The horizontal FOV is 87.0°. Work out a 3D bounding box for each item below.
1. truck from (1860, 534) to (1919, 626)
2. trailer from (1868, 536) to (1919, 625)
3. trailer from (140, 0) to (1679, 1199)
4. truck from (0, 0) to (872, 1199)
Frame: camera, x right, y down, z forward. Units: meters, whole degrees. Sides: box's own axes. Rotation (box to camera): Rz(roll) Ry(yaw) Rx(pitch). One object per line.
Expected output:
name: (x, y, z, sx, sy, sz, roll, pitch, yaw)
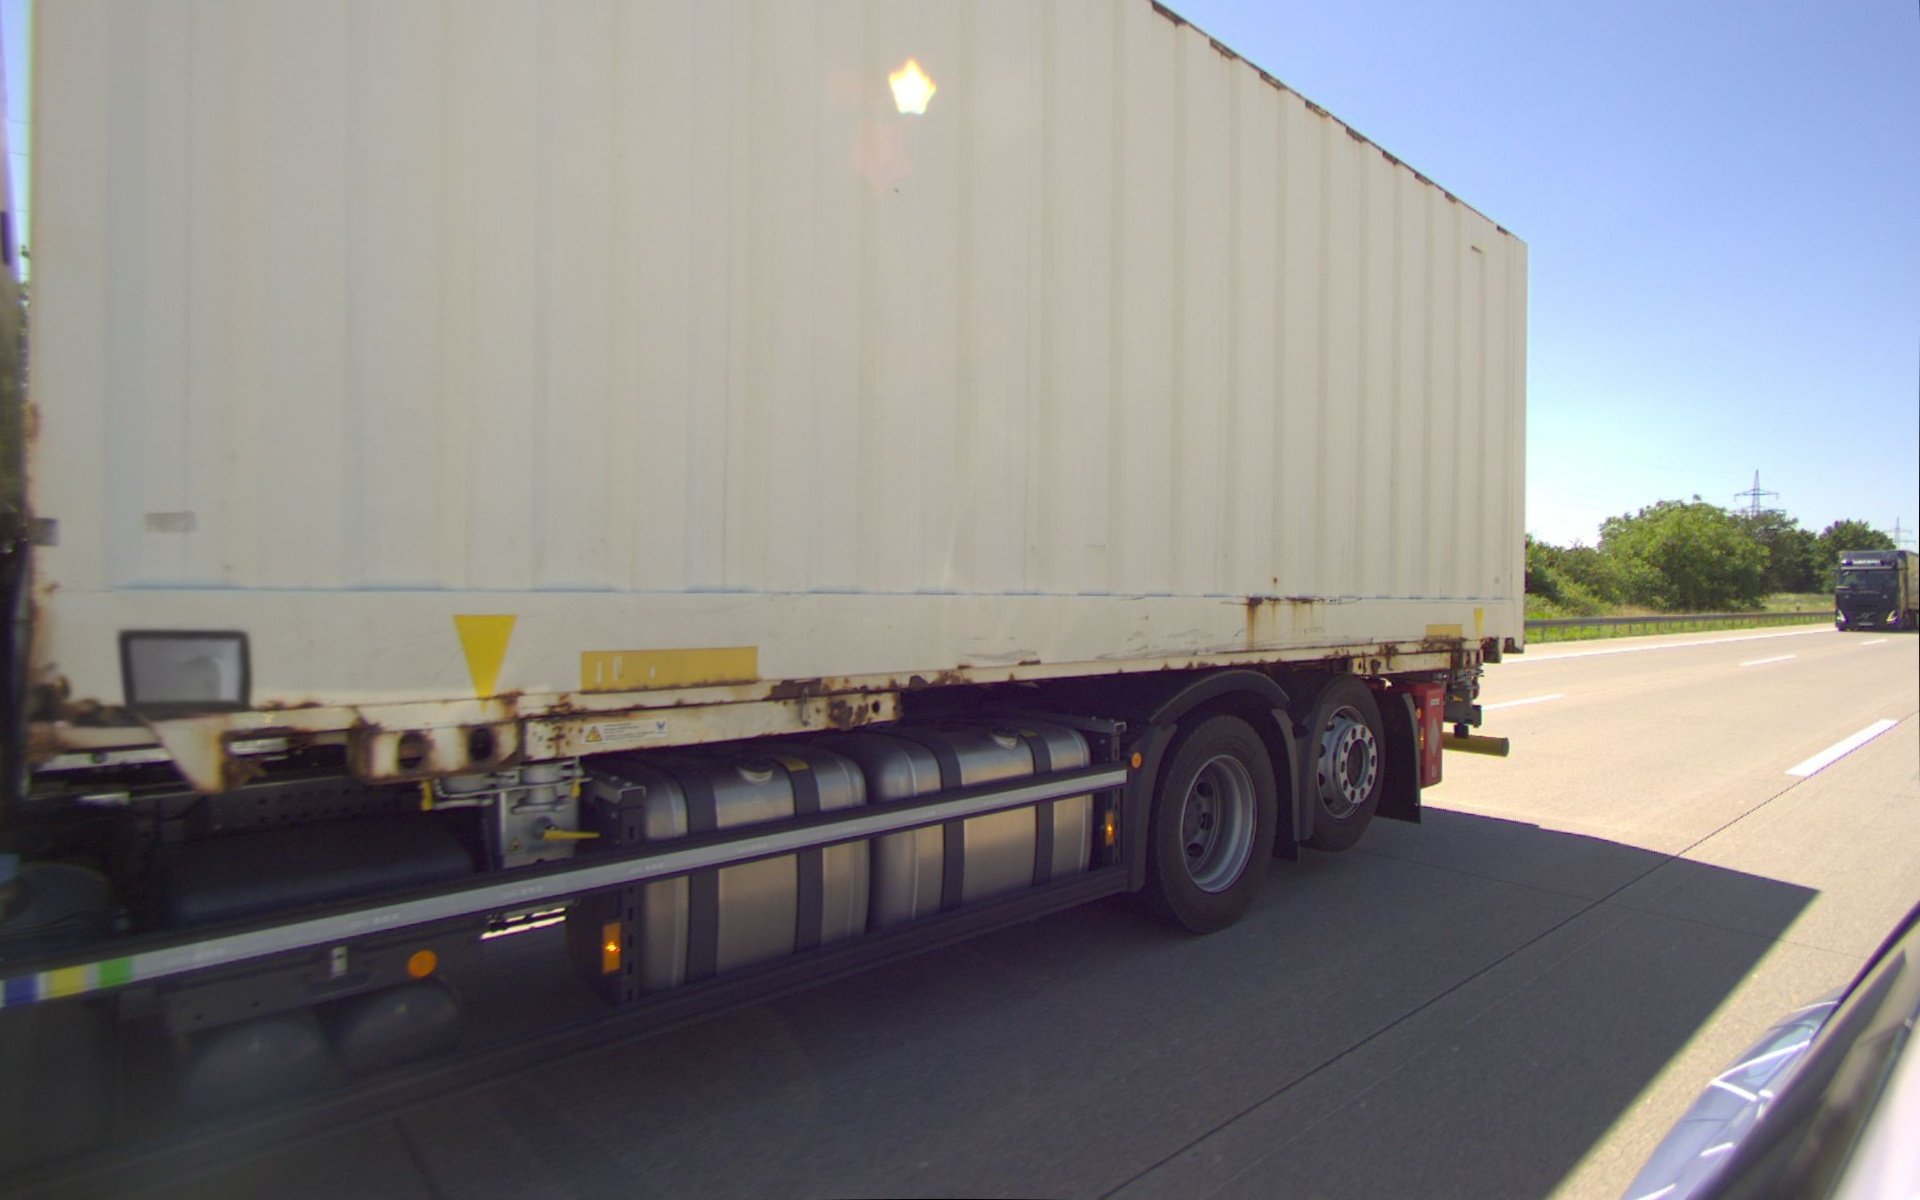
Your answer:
truck: (45.646, -0.928, 49.276, 5.606, 4.246, 1.997, 0, 0, -41)
trailer: (50.858, -0.946, 53.849, 14.488, 4.246, 1.997, 0, 0, -41)
trailer: (1.533, -0.610, 6.274, 10.194, 3.927, 2.584, 0, 0, -42)
truck: (-2.926, -0.591, 2.275, 4.898, 3.927, 2.585, 0, 0, -42)
